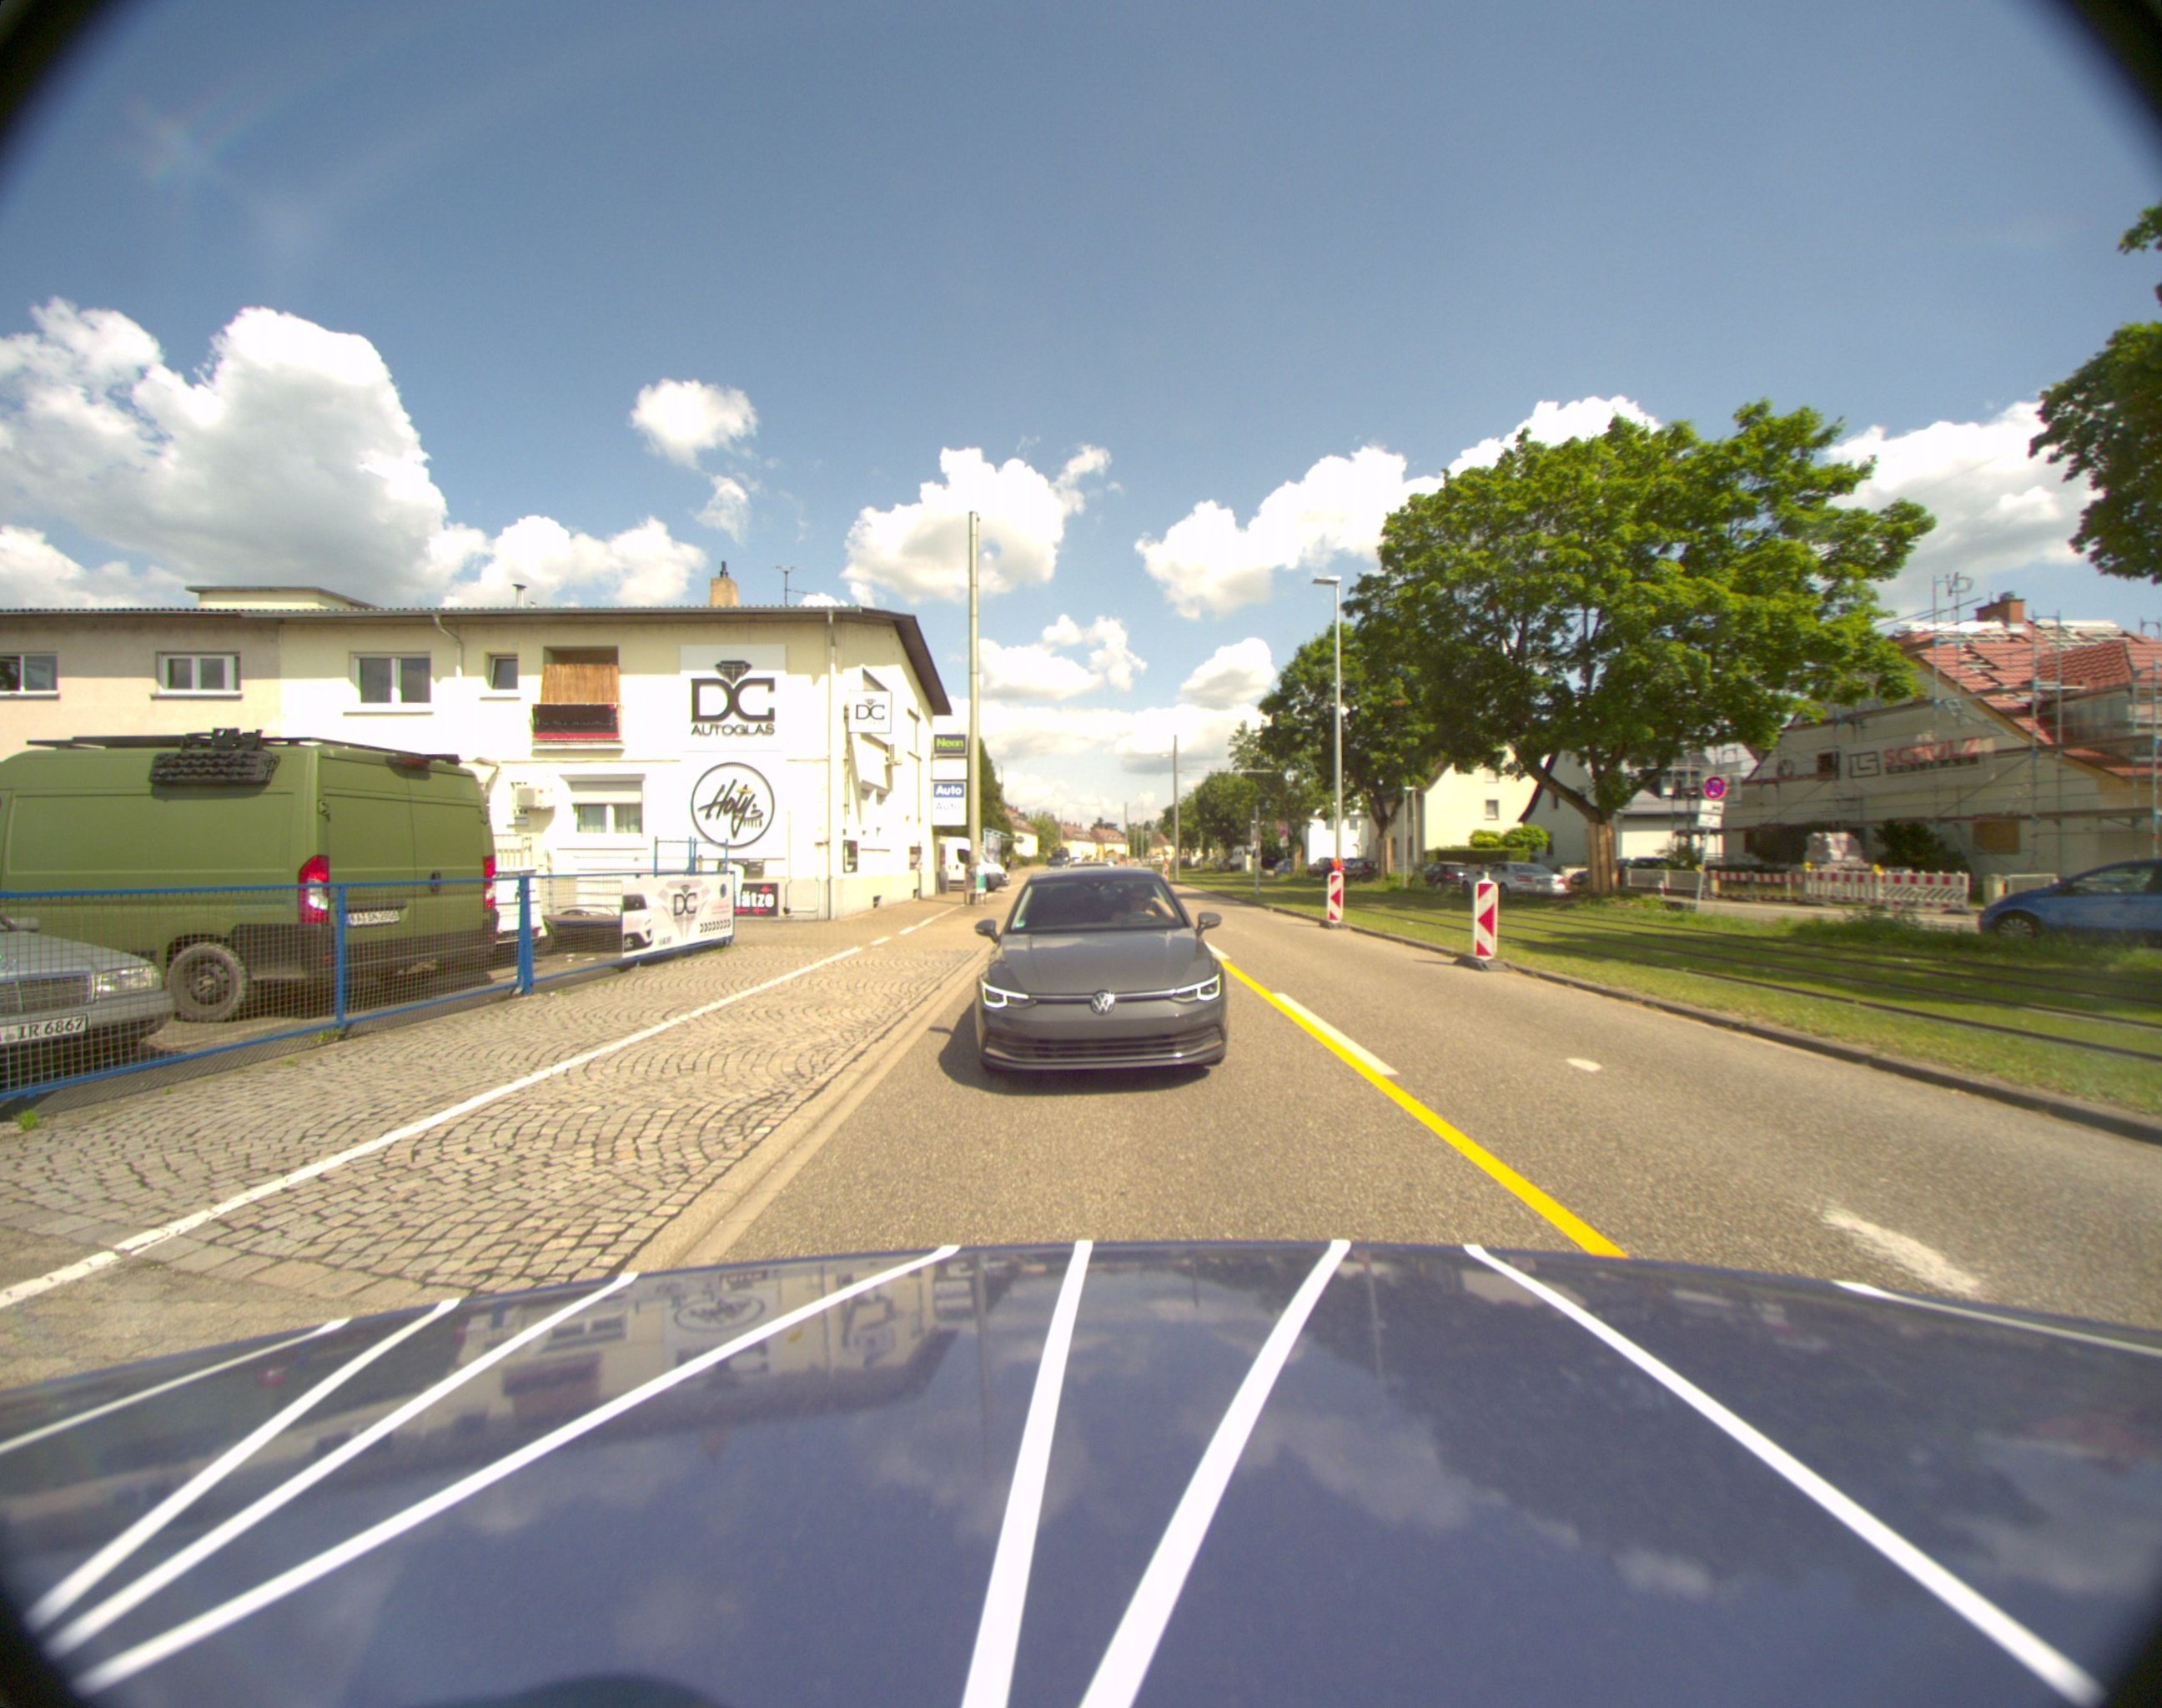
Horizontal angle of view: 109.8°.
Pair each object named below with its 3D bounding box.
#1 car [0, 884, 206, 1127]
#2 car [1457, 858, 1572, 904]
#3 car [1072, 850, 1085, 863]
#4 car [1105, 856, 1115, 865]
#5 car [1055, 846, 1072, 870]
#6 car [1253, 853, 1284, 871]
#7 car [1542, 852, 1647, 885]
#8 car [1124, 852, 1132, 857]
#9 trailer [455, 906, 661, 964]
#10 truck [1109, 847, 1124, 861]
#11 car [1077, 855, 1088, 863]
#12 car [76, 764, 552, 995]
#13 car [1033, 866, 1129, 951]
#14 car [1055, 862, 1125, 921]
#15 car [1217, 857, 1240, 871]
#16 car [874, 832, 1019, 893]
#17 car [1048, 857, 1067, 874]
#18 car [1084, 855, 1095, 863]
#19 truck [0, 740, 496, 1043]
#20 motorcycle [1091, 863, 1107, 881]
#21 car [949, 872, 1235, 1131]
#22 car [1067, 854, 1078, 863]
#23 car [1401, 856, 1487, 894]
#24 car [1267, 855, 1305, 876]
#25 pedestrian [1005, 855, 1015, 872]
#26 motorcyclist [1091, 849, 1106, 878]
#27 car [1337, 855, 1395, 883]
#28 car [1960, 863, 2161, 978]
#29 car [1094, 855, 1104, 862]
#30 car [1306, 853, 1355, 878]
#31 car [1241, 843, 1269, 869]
[{"bbox_3d":[-8.442,0.916,4.808,4.206,1.388,1.804,0,0,8],"label":"car"},{"bbox_3d":[16.384,0.964,29.005,1.755,1.602,4.606,0,0,0],"label":"car"},{"bbox_3d":[-0.432,0.402,136.321,1.719,2.360,5.211,0,0,5],"label":"car"},{"bbox_3d":[4.921,1.111,129.432,1.719,1.405,4.262,0,0,1],"label":"car"},{"bbox_3d":[-1.922,0.412,82.847,1.720,2.526,5.794,0,0,0],"label":"car"},{"bbox_3d":[17.580,0.756,71.494,1.755,1.602,4.606,0,0,0],"label":"car"},{"bbox_3d":[25.507,0.720,37.831,4.047,1.602,1.757,0,0,1],"label":"car"},{"bbox_3d":[13.530,0.239,218.476,1.718,1.470,4.013,0,0,13],"label":"car"},{"bbox_3d":[-8.067,1.237,11.835,2.329,0.762,1.269,0,0,2],"label":"trailer"},{"bbox_3d":[9.467,0.025,201.121,2.590,3.431,8.585,0,0,11],"label":"truck"},{"bbox_3d":[0.337,0.990,146.552,1.719,1.470,4.011,0,0,6],"label":"car"},{"bbox_3d":[-9.460,0.300,9.650,4.209,2.653,1.803,0,0,0],"label":"car"},{"bbox_3d":[0.033,1.005,15.641,1.719,1.470,4.009,0,0,1],"label":"car"},{"bbox_3d":[0.256,0.987,21.490,1.787,1.470,4.009,0,0,1],"label":"car"},{"bbox_3d":[16.928,1.153,87.268,1.755,1.602,4.606,0,0,0],"label":"car"},{"bbox_3d":[-5.936,0.380,33.978,5.982,2.362,2.000,3,0,3],"label":"car"},{"bbox_3d":[-2.165,1.066,70.985,1.720,1.470,4.009,0,0,0],"label":"car"},{"bbox_3d":[1.812,0.991,155.300,1.718,1.470,4.011,0,0,8],"label":"car"},{"bbox_3d":[-8.628,0.327,7.565,3.997,2.592,2.069,0,0,1],"label":"truck"},{"bbox_3d":[1.197,1.186,51.019,0.886,1.164,2.901,0,0,-3],"label":"motorcycle"},{"bbox_3d":[0.095,0.936,6.575,1.719,1.470,4.009,0,0,1],"label":"car"},{"bbox_3d":[-1.368,0.740,122.957,1.720,1.470,4.009,0,0,0],"label":"car"},{"bbox_3d":[16.585,0.916,35.028,1.755,1.602,4.606,0,0,0],"label":"car"},{"bbox_3d":[16.490,0.917,61.355,1.755,1.602,4.606,0,0,0],"label":"car"},{"bbox_3d":[-6.607,0.846,70.451,0.816,1.577,0.918,0,0,1],"label":"pedestrian"},{"bbox_3d":[1.186,0.640,51.153,0.879,1.900,1.113,0,0,-3],"label":"motorcyclist"},{"bbox_3d":[16.896,0.850,45.266,1.755,1.602,4.606,0,0,0],"label":"car"},{"bbox_3d":[16.213,0.957,11.230,1.755,1.602,4.050,0,0,0],"label":"car"},{"bbox_3d":[4.103,0.998,172.734,1.718,1.470,4.011,0,0,8],"label":"car"},{"bbox_3d":[16.674,0.763,50.906,1.755,1.602,4.606,0,0,0],"label":"car"},{"bbox_3d":[17.642,0.197,77.049,1.755,2.601,4.606,0,0,0],"label":"car"}]
